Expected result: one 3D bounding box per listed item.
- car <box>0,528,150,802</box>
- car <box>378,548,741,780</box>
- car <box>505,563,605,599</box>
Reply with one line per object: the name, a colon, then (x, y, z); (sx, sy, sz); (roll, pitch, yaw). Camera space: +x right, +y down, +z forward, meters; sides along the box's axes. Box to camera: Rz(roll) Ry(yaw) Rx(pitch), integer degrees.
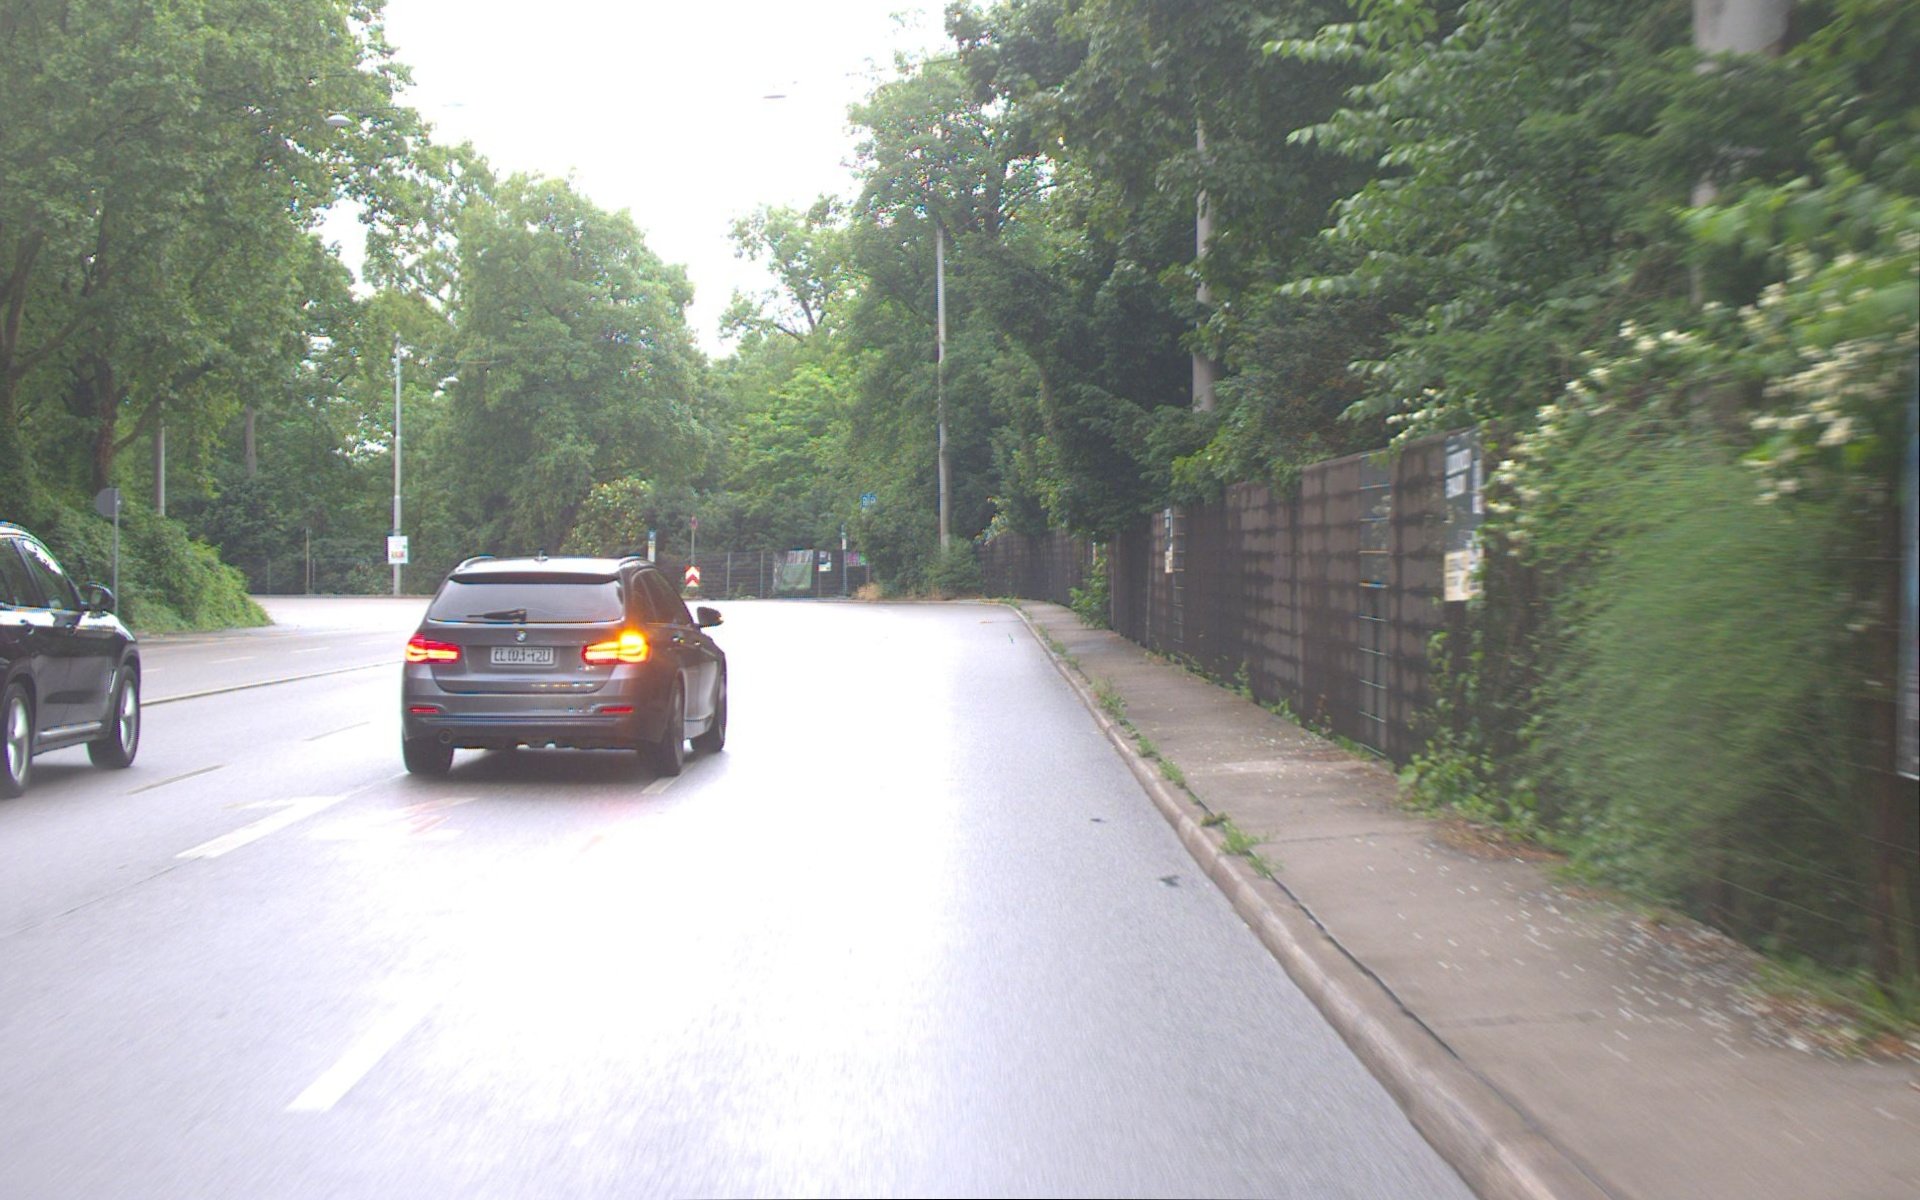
car: (-6.443, 0.343, 21.538); (1.757, 1.580, 4.413); (1, 1, -1)
car: (-2.658, 0.382, 23.784); (1.758, 1.428, 4.412); (1, 0, 3)
car: (-16.987, -0.801, 143.968); (4.368, 1.422, 1.688); (1, -2, 43)
